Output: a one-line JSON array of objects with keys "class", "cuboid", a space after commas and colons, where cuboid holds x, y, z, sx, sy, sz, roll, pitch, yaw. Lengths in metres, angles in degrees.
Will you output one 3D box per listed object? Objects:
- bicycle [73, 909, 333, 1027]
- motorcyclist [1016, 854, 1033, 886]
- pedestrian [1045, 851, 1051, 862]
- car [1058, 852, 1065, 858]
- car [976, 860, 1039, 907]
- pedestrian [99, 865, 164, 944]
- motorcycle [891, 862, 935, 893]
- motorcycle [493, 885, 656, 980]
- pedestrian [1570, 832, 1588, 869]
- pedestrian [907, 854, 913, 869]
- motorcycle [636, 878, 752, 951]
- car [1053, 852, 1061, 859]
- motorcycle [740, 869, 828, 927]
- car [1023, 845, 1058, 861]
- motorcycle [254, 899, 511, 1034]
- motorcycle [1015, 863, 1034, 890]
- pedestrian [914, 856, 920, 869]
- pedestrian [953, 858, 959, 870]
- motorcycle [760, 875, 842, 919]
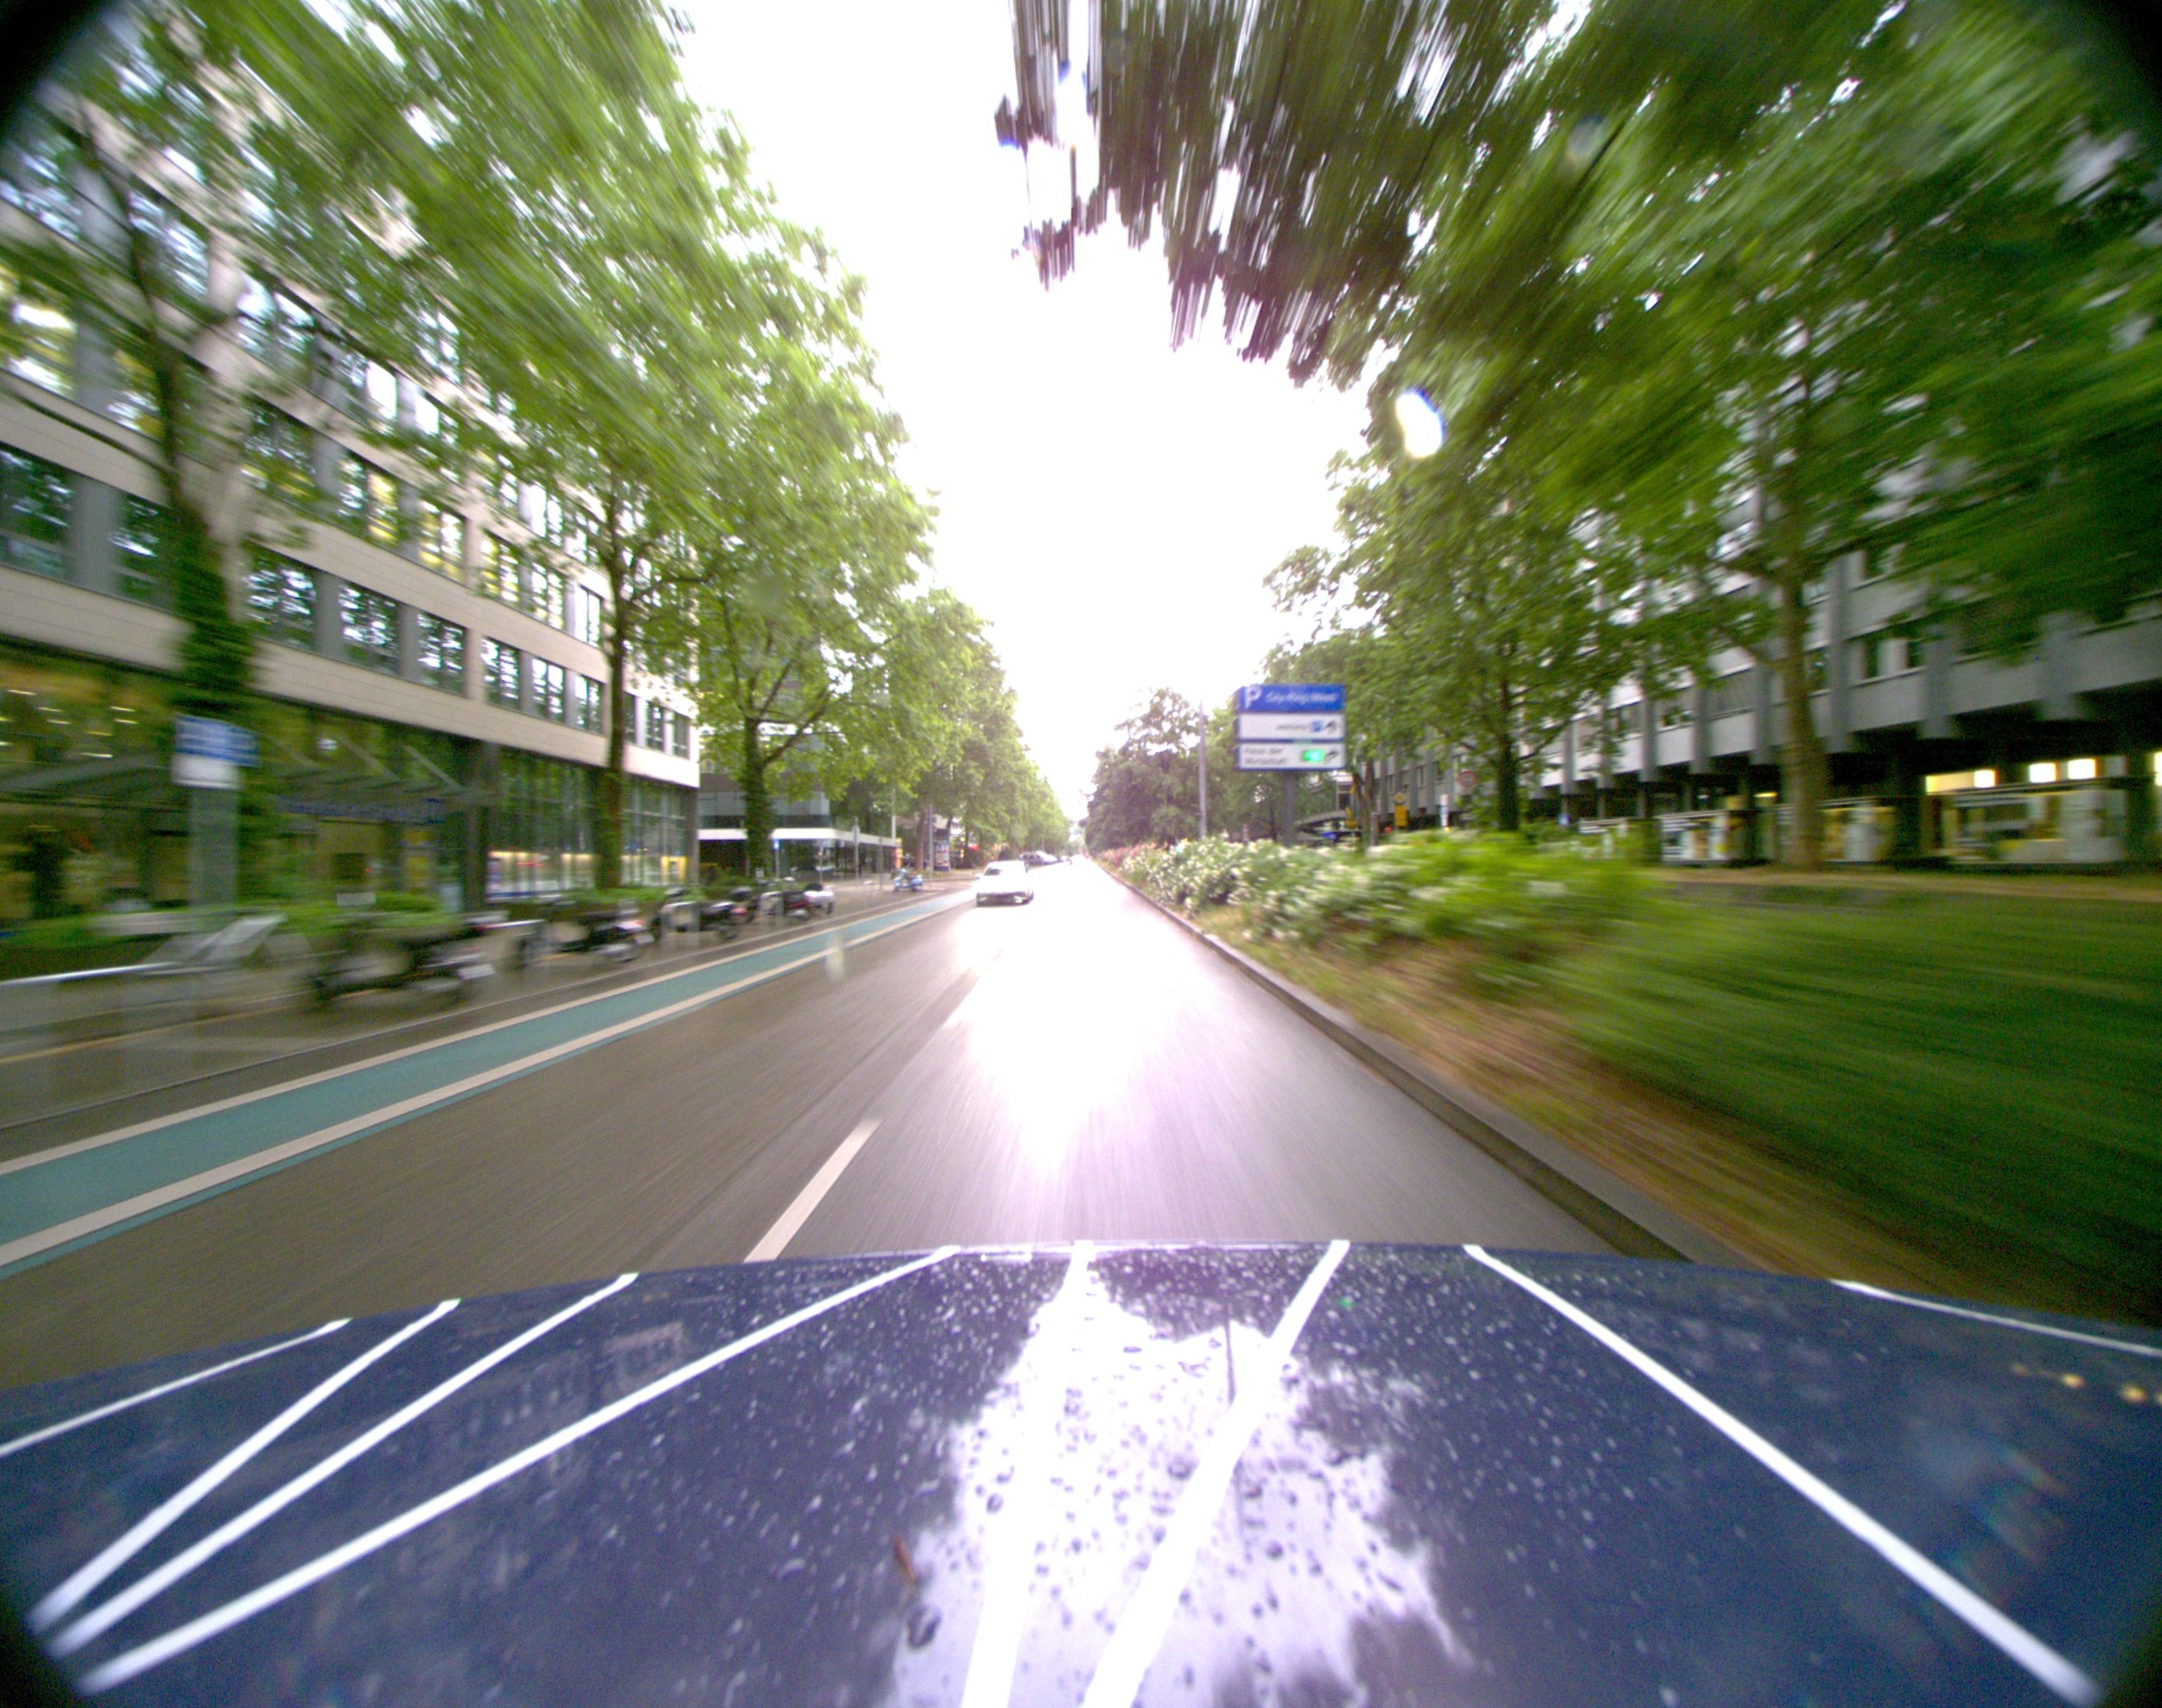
[{"class": "bicycle", "cuboid": [-9.631, 1.190, 8.426, 0.637, 1.022, 1.766, -1, 0, 29]}, {"class": "motorcyclist", "cuboid": [-2.831, 0.789, 38.077, 0.744, 1.575, 1.059, -2, 1, 0]}, {"class": "pedestrian", "cuboid": [-5.800, 0.481, 133.697, 0.893, 1.839, 0.786, -2, 1, -16]}, {"class": "car", "cuboid": [-5.324, 0.315, 205.592, 1.598, 1.516, 3.425, -1, 0, 0]}, {"class": "car", "cuboid": [-2.541, 0.983, 27.105, 1.795, 1.463, 3.793, -2, 0, 1]}, {"class": "pedestrian", "cuboid": [-20.824, 1.075, 16.687, 0.727, 1.683, 0.830, 0, 0, 43]}, {"class": "motorcycle", "cuboid": [-7.813, 1.078, 35.354, 0.683, 1.359, 1.950, 3, 2, 41]}, {"class": "motorcycle", "cuboid": [-7.741, 1.166, 11.735, 1.964, 1.365, 0.728, 1, -1, -21]}, {"class": "pedestrian", "cuboid": [24.865, -0.172, 37.915, 0.549, 1.796, 0.522, -1, 1, 1]}, {"class": "pedestrian", "cuboid": [-20.671, 0.885, 91.773, 0.524, 1.848, 0.704, 1, 2, 0]}, {"class": "motorcycle", "cuboid": [-7.606, 1.166, 15.052, 1.964, 1.365, 0.728, 1, -1, -21]}, {"class": "car", "cuboid": [-5.133, 0.263, 164.164, 1.598, 1.516, 3.425, -1, 0, 0]}, {"class": "motorcycle", "cuboid": [-7.599, 1.112, 19.504, 2.062, 1.420, 0.728, 1, -1, -21]}, {"class": "car", "cuboid": [-7.523, -0.158, 139.998, 6.267, 2.665, 2.326, -1, 1, 36]}, {"class": "motorcycle", "cuboid": [-7.671, 1.198, 8.461, 1.963, 1.365, 0.728, 1, -1, -16]}, {"class": "motorcycle", "cuboid": [-2.823, 1.109, 38.149, 0.744, 1.194, 2.235, -2, 1, 0]}, {"class": "pedestrian", "cuboid": [-19.804, 1.026, 91.832, 0.527, 1.616, 0.719, 1, 2, 0]}, {"class": "pedestrian", "cuboid": [-15.869, 1.223, 96.512, 0.588, 1.496, 1.005, 0, 0, 1]}, {"class": "motorcycle", "cuboid": [-8.021, 1.209, 21.807, 2.064, 1.206, 0.683, 1, 1, -35]}]
